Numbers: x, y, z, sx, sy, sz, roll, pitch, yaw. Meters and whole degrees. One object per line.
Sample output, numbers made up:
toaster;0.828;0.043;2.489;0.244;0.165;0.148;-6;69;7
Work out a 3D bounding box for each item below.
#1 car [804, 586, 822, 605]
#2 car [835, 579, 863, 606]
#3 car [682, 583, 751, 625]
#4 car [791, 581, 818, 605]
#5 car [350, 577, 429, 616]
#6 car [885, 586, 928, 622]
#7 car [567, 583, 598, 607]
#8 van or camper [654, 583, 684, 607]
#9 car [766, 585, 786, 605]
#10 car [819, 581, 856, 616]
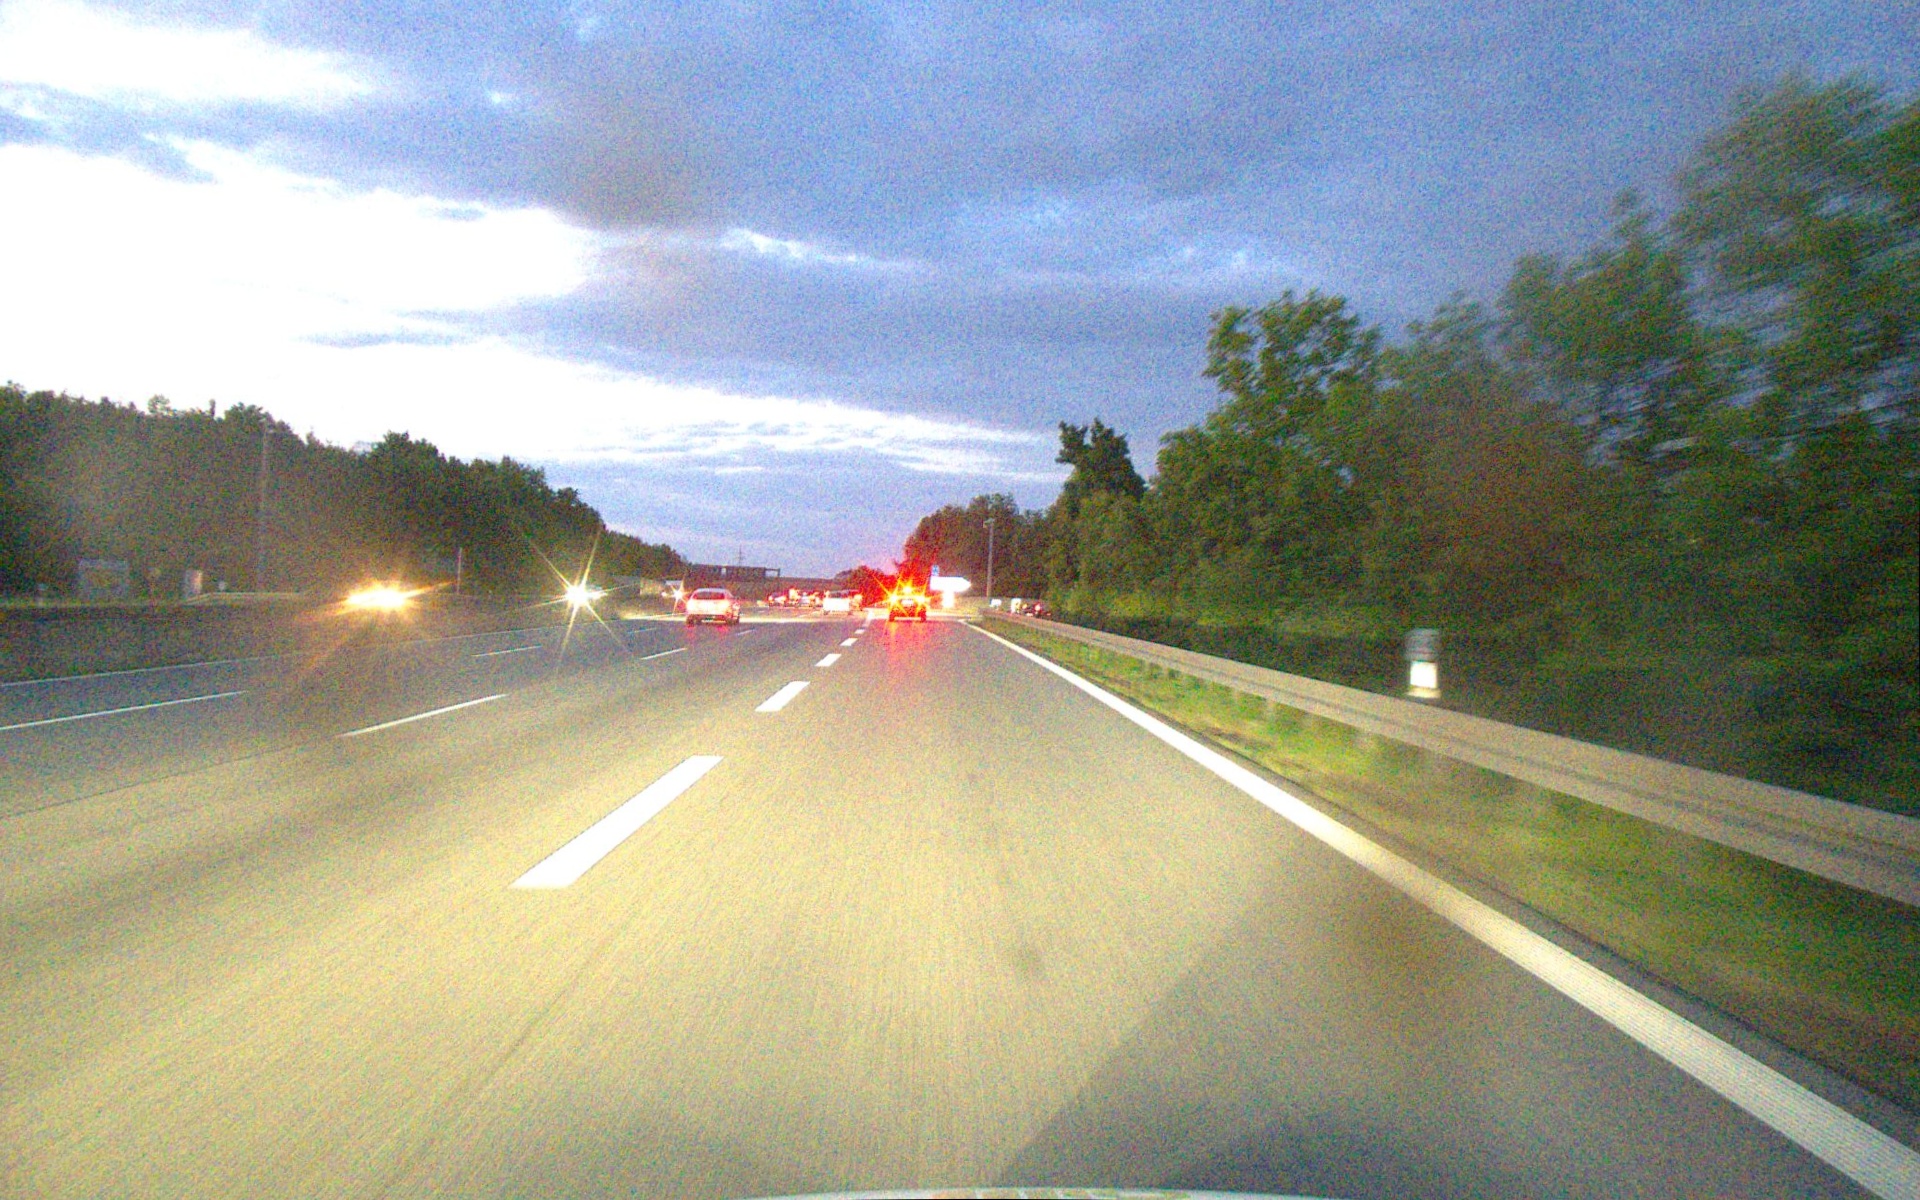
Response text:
car;-16.825;-0.517;189.542;1.955;2.049;3.995;1;0;-6
car;-8.551;-0.563;127.478;1.953;2.049;4.000;0;0;-1
car;-9.858;0.145;67.295;1.952;1.671;4.556;0;0;2
car;-13.687;-0.641;145.836;2.029;2.049;4.000;0;0;0
car;-25.251;-0.176;73.353;1.953;1.638;4.558;1;0;-1
car;-2.649;0.185;80.625;1.954;1.688;4.312;1;0;-3
car;-32.988;-0.473;144.504;1.987;2.049;4.235;1;0;-4
van or camper;-33.117;-0.548;188.508;2.466;2.640;6.485;1;0;-3
car;-18.826;-0.533;169.190;2.064;2.049;3.994;0;0;-7
car;-7.310;-0.093;98.998;1.953;2.049;3.999;1;0;-1
